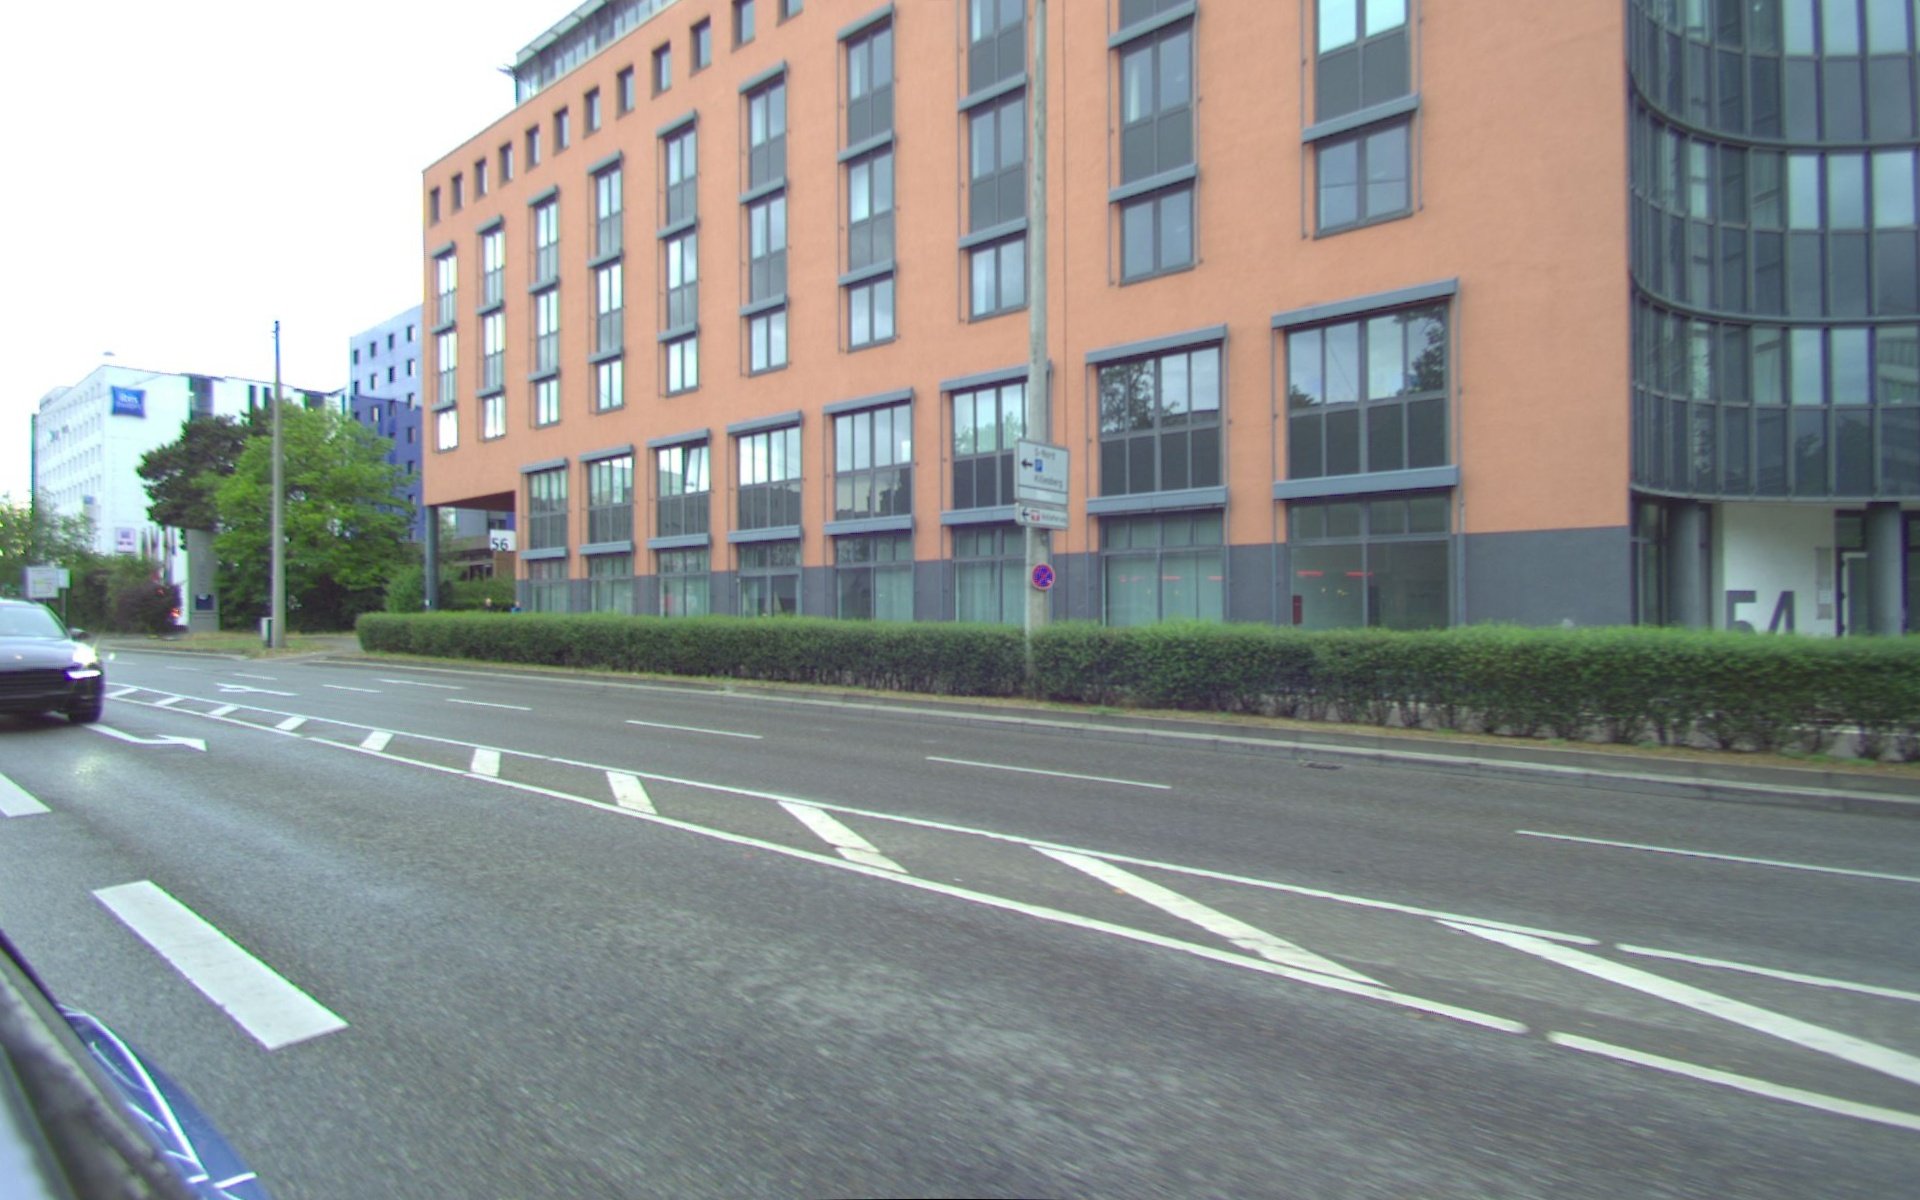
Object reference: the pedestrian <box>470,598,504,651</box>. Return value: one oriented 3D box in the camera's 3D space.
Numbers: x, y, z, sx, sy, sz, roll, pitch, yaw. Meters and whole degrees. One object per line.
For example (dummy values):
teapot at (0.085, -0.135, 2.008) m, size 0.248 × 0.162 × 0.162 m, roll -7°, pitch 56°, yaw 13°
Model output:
pedestrian at (-16.747, 0.864, 35.824) m, size 0.885 × 1.855 × 0.738 m, roll -1°, pitch 0°, yaw 39°

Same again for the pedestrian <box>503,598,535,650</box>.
pedestrian at (-15.913, 0.858, 36.513) m, size 0.885 × 1.855 × 0.738 m, roll -1°, pitch 0°, yaw 39°

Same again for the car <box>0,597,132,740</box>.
car at (-13.295, 0.853, 13.683) m, size 5.414 × 1.679 × 1.976 m, roll -1°, pitch -1°, yaw 36°
